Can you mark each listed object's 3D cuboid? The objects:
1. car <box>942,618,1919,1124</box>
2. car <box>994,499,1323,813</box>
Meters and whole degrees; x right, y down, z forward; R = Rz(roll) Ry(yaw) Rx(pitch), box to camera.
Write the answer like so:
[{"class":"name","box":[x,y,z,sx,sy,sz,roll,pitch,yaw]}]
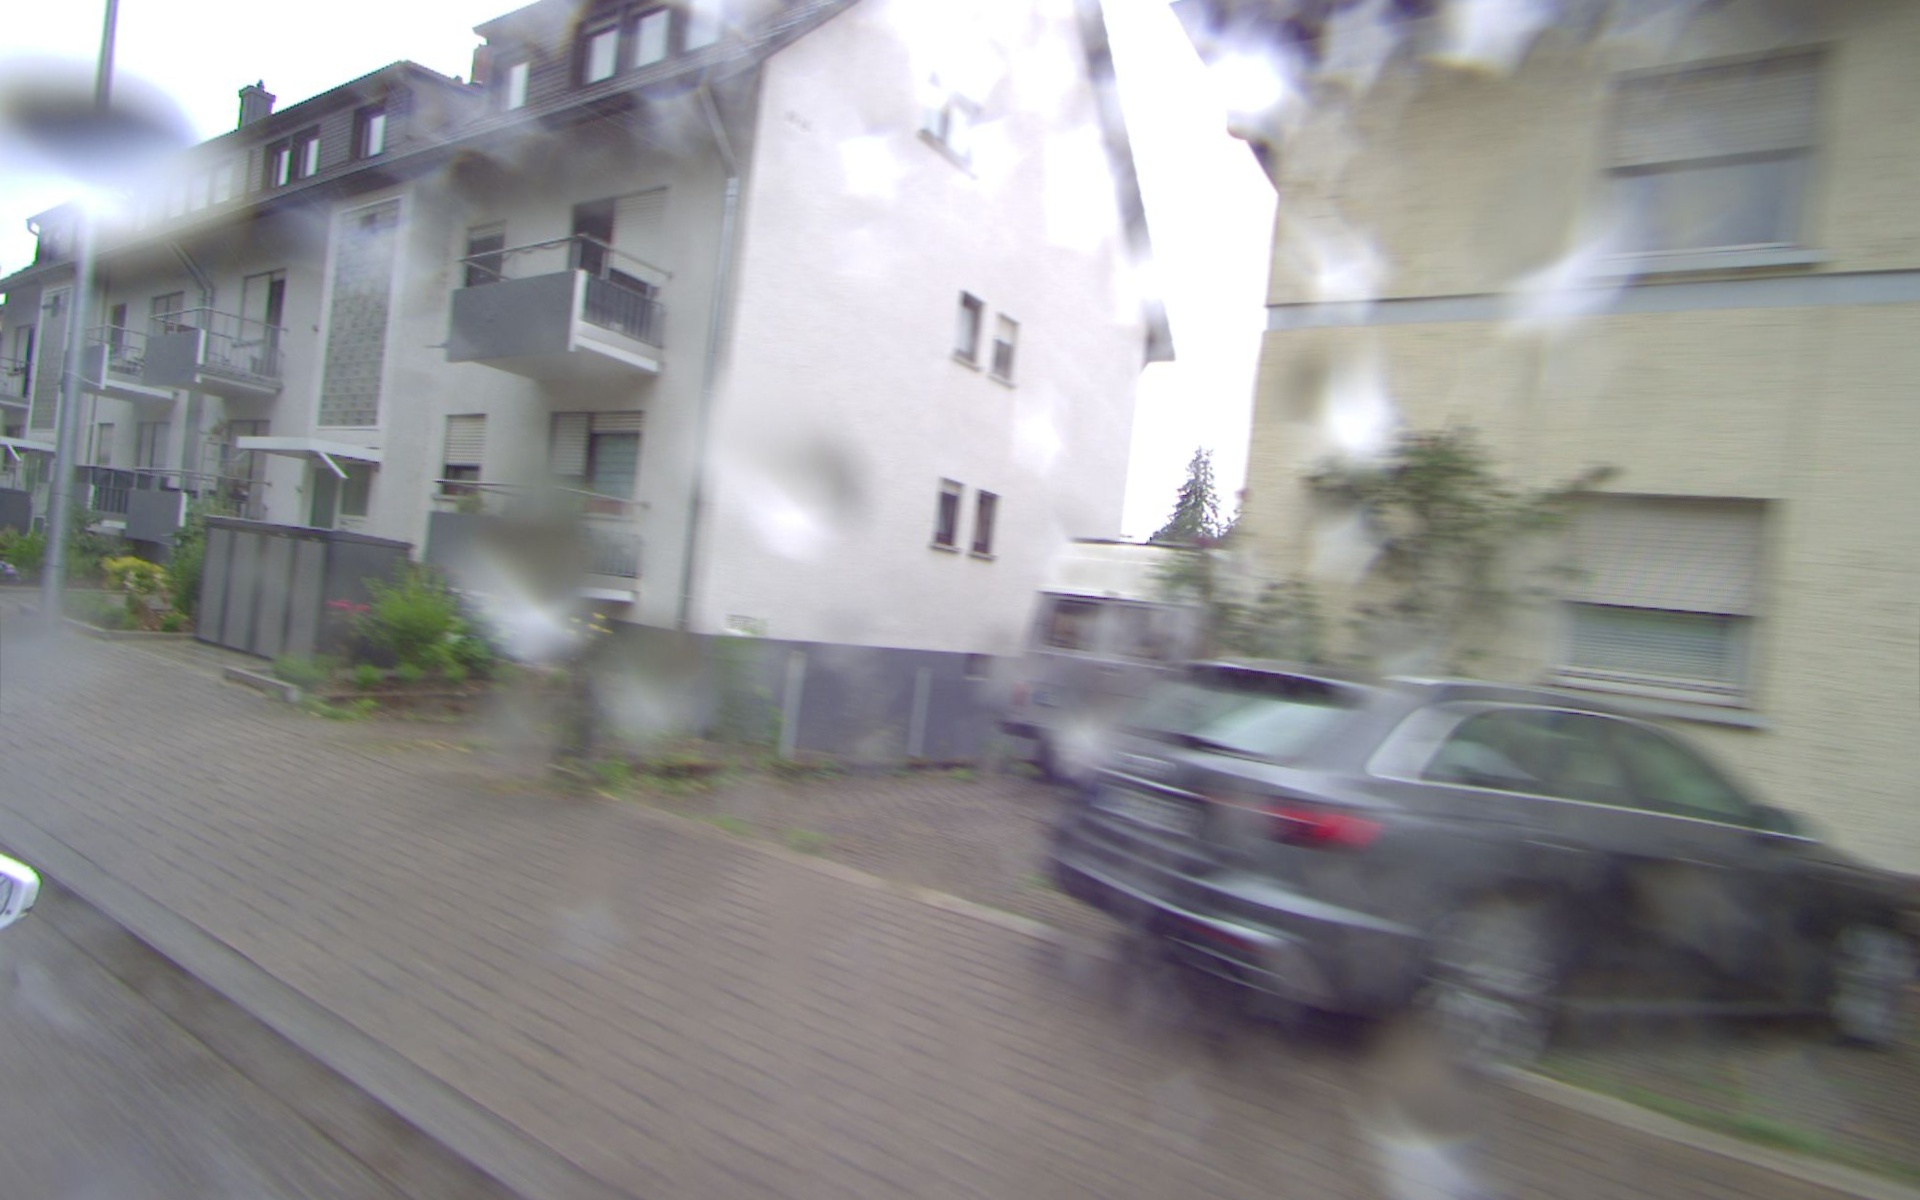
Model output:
[{"class":"car","box":[2.325,1.057,4.658,4.327,1.380,1.909,8,-1,-24]},{"class":"car","box":[2.567,0.678,11.897,1.972,2.793,4.467,11,1,32]}]
